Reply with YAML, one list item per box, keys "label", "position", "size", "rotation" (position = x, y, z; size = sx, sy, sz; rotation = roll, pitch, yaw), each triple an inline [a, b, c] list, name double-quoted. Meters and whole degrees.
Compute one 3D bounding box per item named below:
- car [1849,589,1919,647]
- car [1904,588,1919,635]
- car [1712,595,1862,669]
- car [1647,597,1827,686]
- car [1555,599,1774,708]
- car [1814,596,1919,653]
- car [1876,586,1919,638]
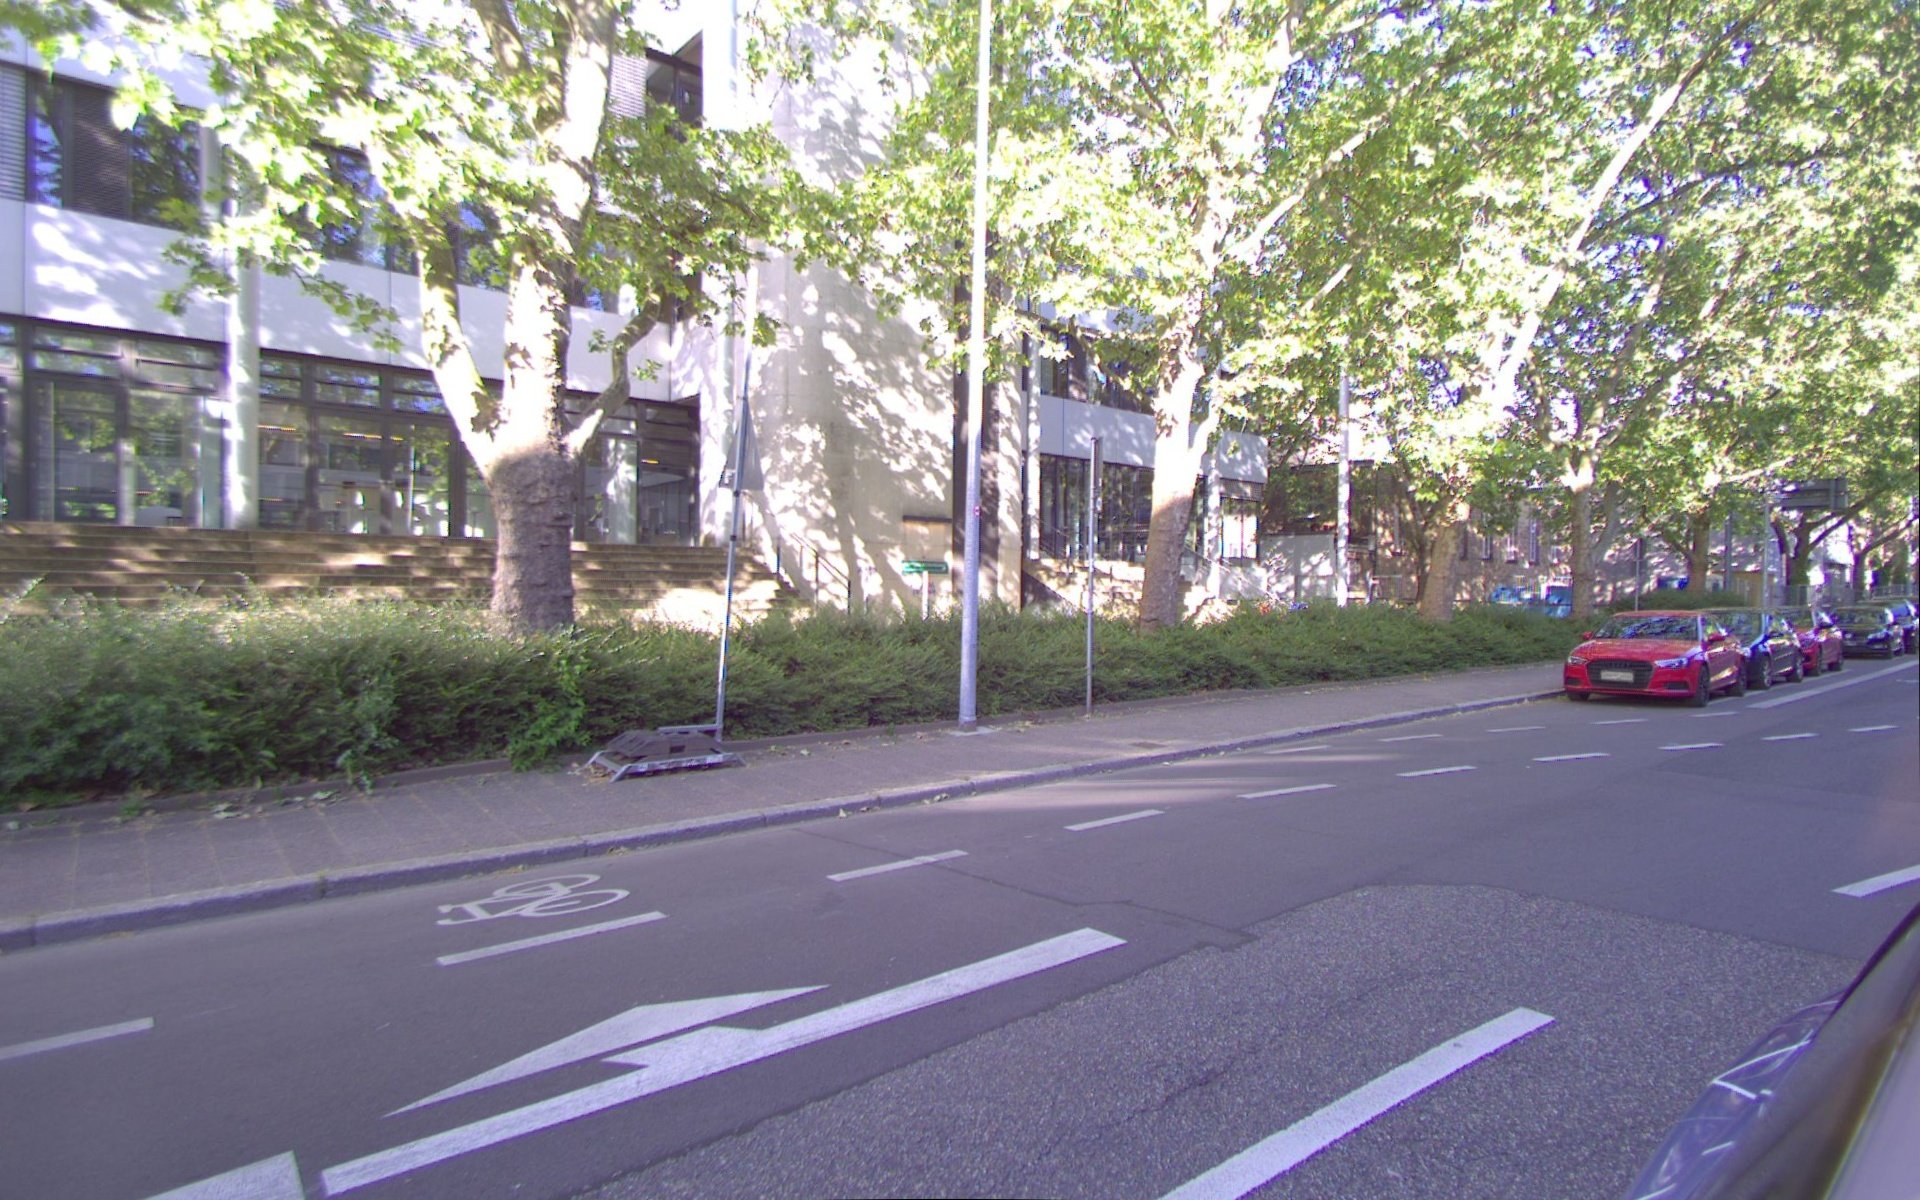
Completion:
- label: "car"
  position: [29.563, 0.515, 31.799]
  size: [4.403, 1.689, 1.865]
  rotation: [0, 0, -41]
- label: "car"
  position: [38.867, 0.446, 39.959]
  size: [4.403, 1.781, 1.865]
  rotation: [0, 0, -41]
- label: "car"
  position: [18.427, 0.638, 22.471]
  size: [4.403, 1.469, 1.865]
  rotation: [0, 0, -41]
- label: "car"
  position: [14.759, 0.694, 19.134]
  size: [4.403, 1.469, 1.865]
  rotation: [0, 0, -41]
- label: "car"
  position: [11.311, 0.740, 16.133]
  size: [4.403, 1.469, 1.865]
  rotation: [0, 0, -41]
- label: "car"
  position: [25.783, 0.623, 28.605]
  size: [4.403, 1.469, 1.865]
  rotation: [0, 0, -41]
- label: "car"
  position: [33.901, 0.397, 35.689]
  size: [4.403, 1.781, 1.865]
  rotation: [0, 0, -41]
